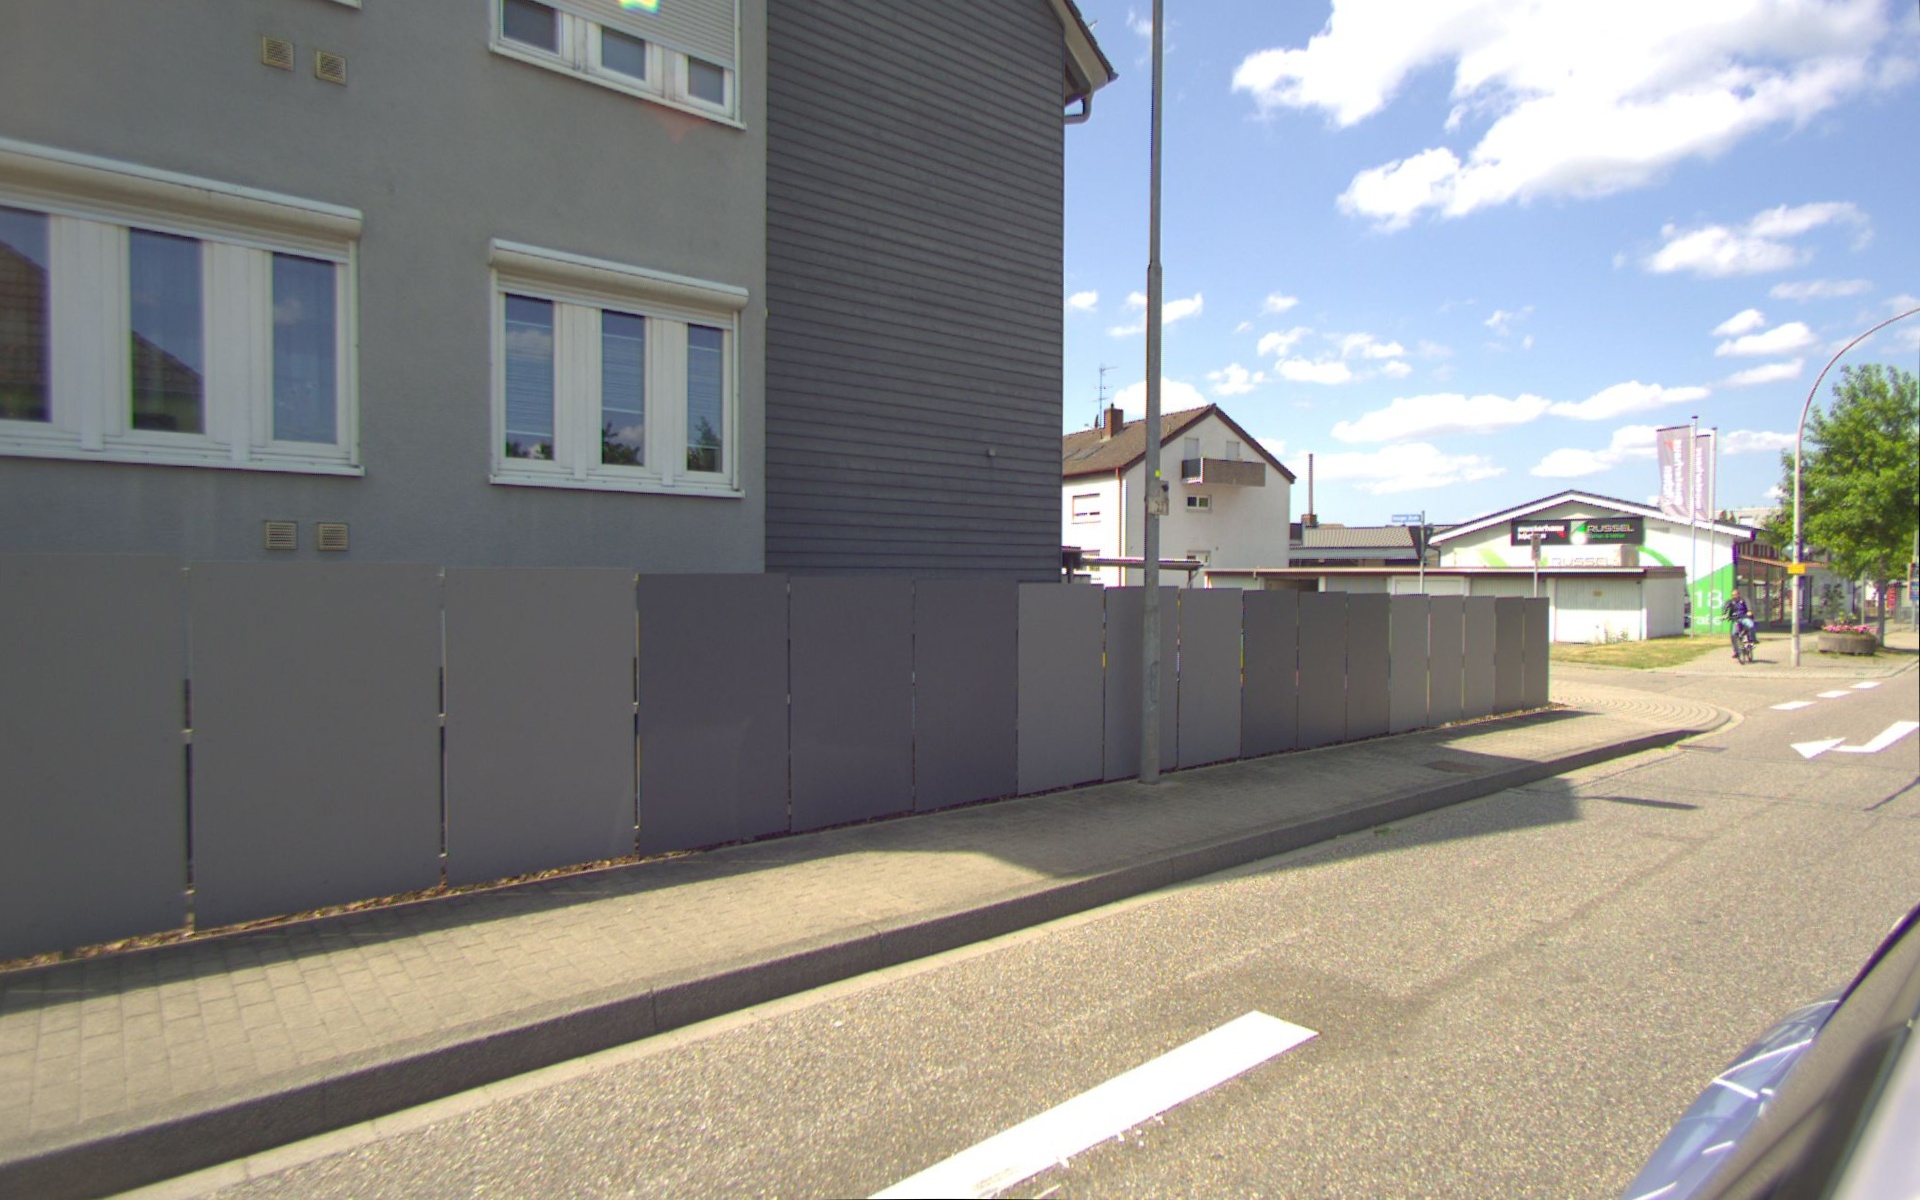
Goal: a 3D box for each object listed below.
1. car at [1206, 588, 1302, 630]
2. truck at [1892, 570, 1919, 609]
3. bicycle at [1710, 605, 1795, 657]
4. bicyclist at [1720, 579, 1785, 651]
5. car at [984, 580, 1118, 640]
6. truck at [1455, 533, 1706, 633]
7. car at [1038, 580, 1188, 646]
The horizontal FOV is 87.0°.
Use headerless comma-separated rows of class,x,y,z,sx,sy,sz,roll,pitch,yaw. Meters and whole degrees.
car,11.421,0.325,39.222,4.060,1.522,1.678,-1,1,-41
truck,71.559,-0.758,75.570,2.571,2.795,6.240,3,2,41
bicycle,18.671,0.725,23.849,1.903,1.180,0.807,1,-1,-25
bicyclist,18.677,0.345,23.859,1.088,1.650,0.807,1,-1,-25
car,2.728,0.318,29.872,3.784,1.607,1.741,2,0,-40
truck,24.561,-0.674,40.479,2.633,3.617,8.180,-2,2,-42
car,4.249,0.372,27.809,4.139,1.669,1.741,2,0,-40
